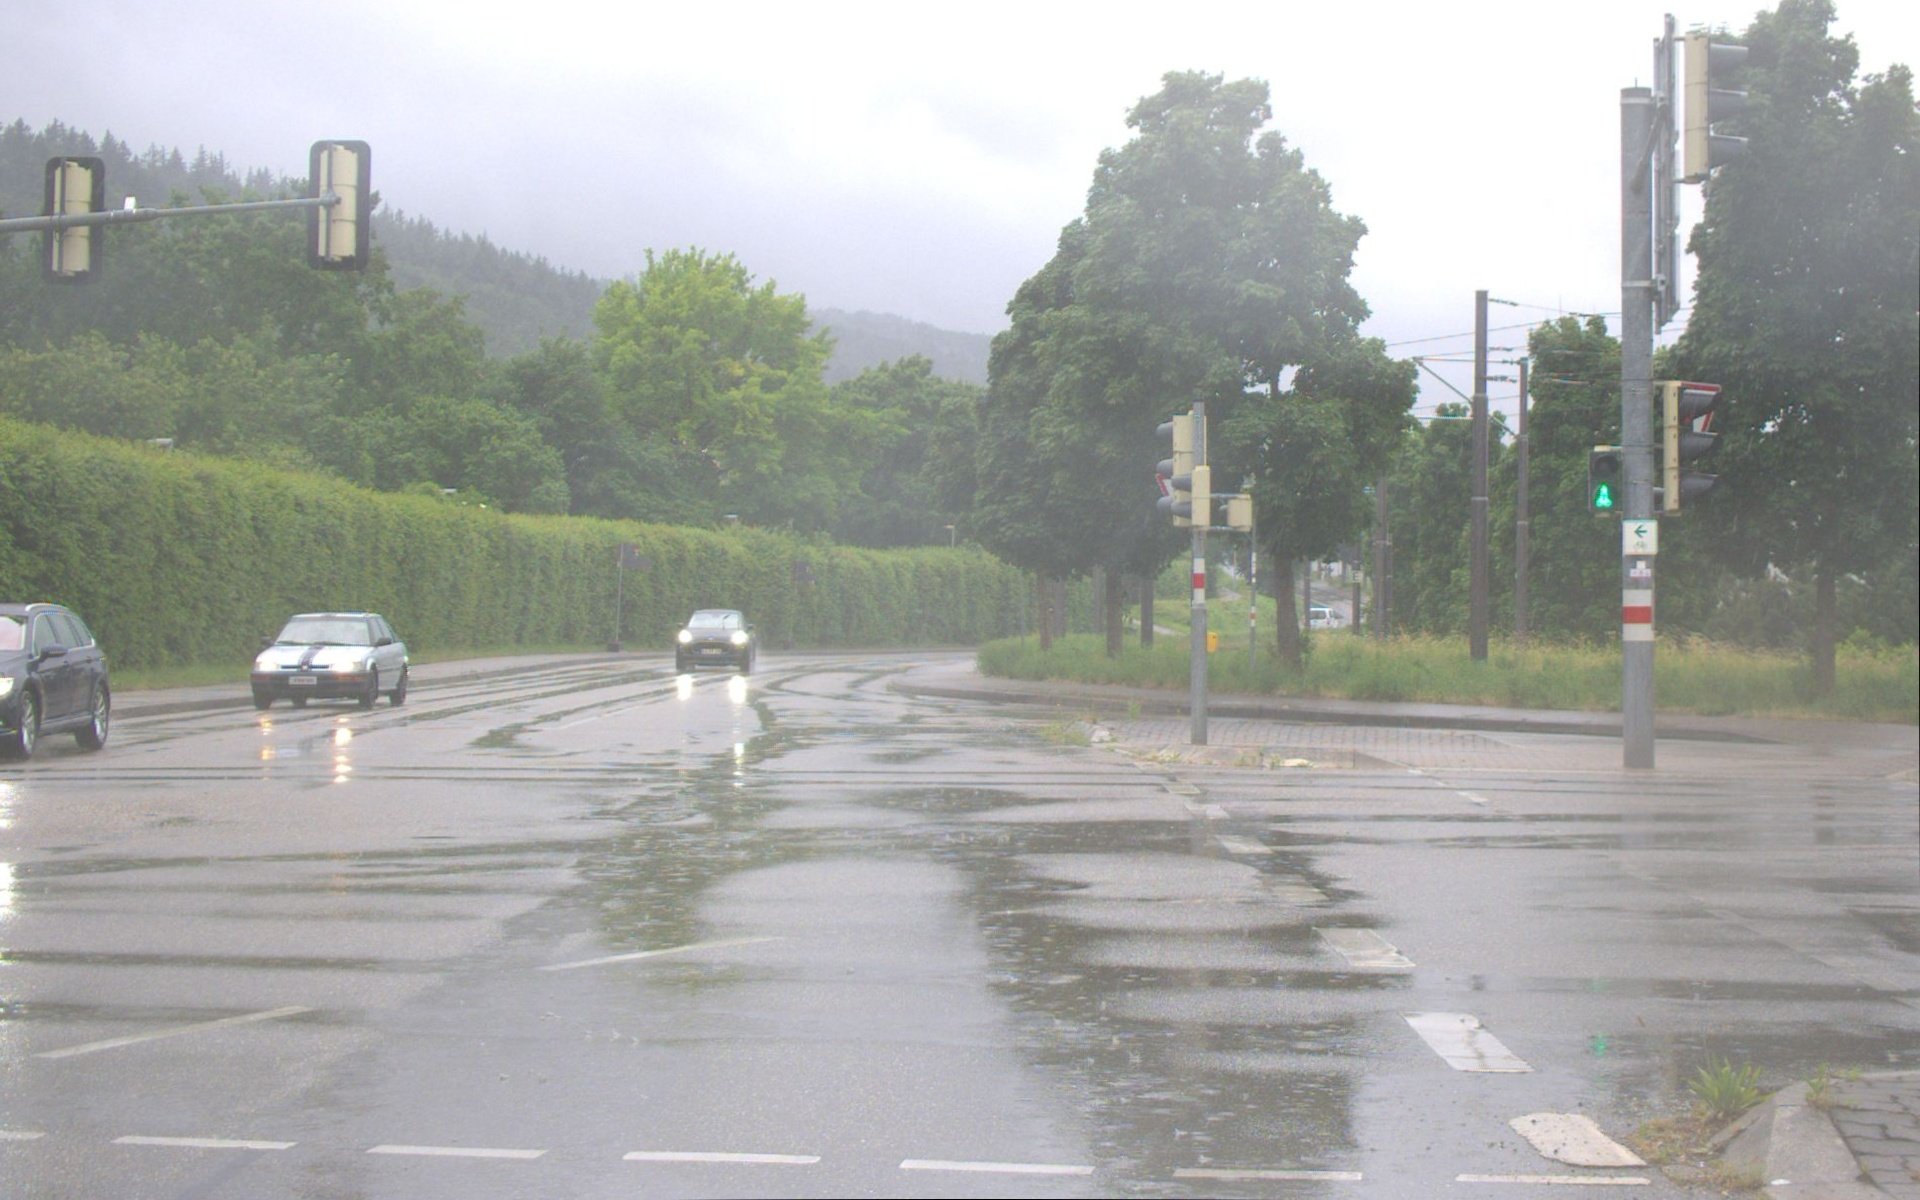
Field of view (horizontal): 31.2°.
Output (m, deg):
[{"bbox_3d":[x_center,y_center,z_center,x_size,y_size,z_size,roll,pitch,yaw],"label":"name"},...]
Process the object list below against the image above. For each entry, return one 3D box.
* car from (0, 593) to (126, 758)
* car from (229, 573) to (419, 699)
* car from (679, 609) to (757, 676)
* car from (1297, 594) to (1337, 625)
[{"bbox_3d":[-9.408,0.671,33.028,1.708,1.461,4.453,0,0,0],"label":"car"},{"bbox_3d":[-9.173,0.487,49.869,2.036,1.702,4.066,1,1,-1],"label":"car"},{"bbox_3d":[-5.969,1.033,85.103,1.784,1.499,4.061,1,1,-2],"label":"car"},{"bbox_3d":[22.230,0.588,214.168,1.954,1.897,4.117,0,0,13],"label":"car"}]
